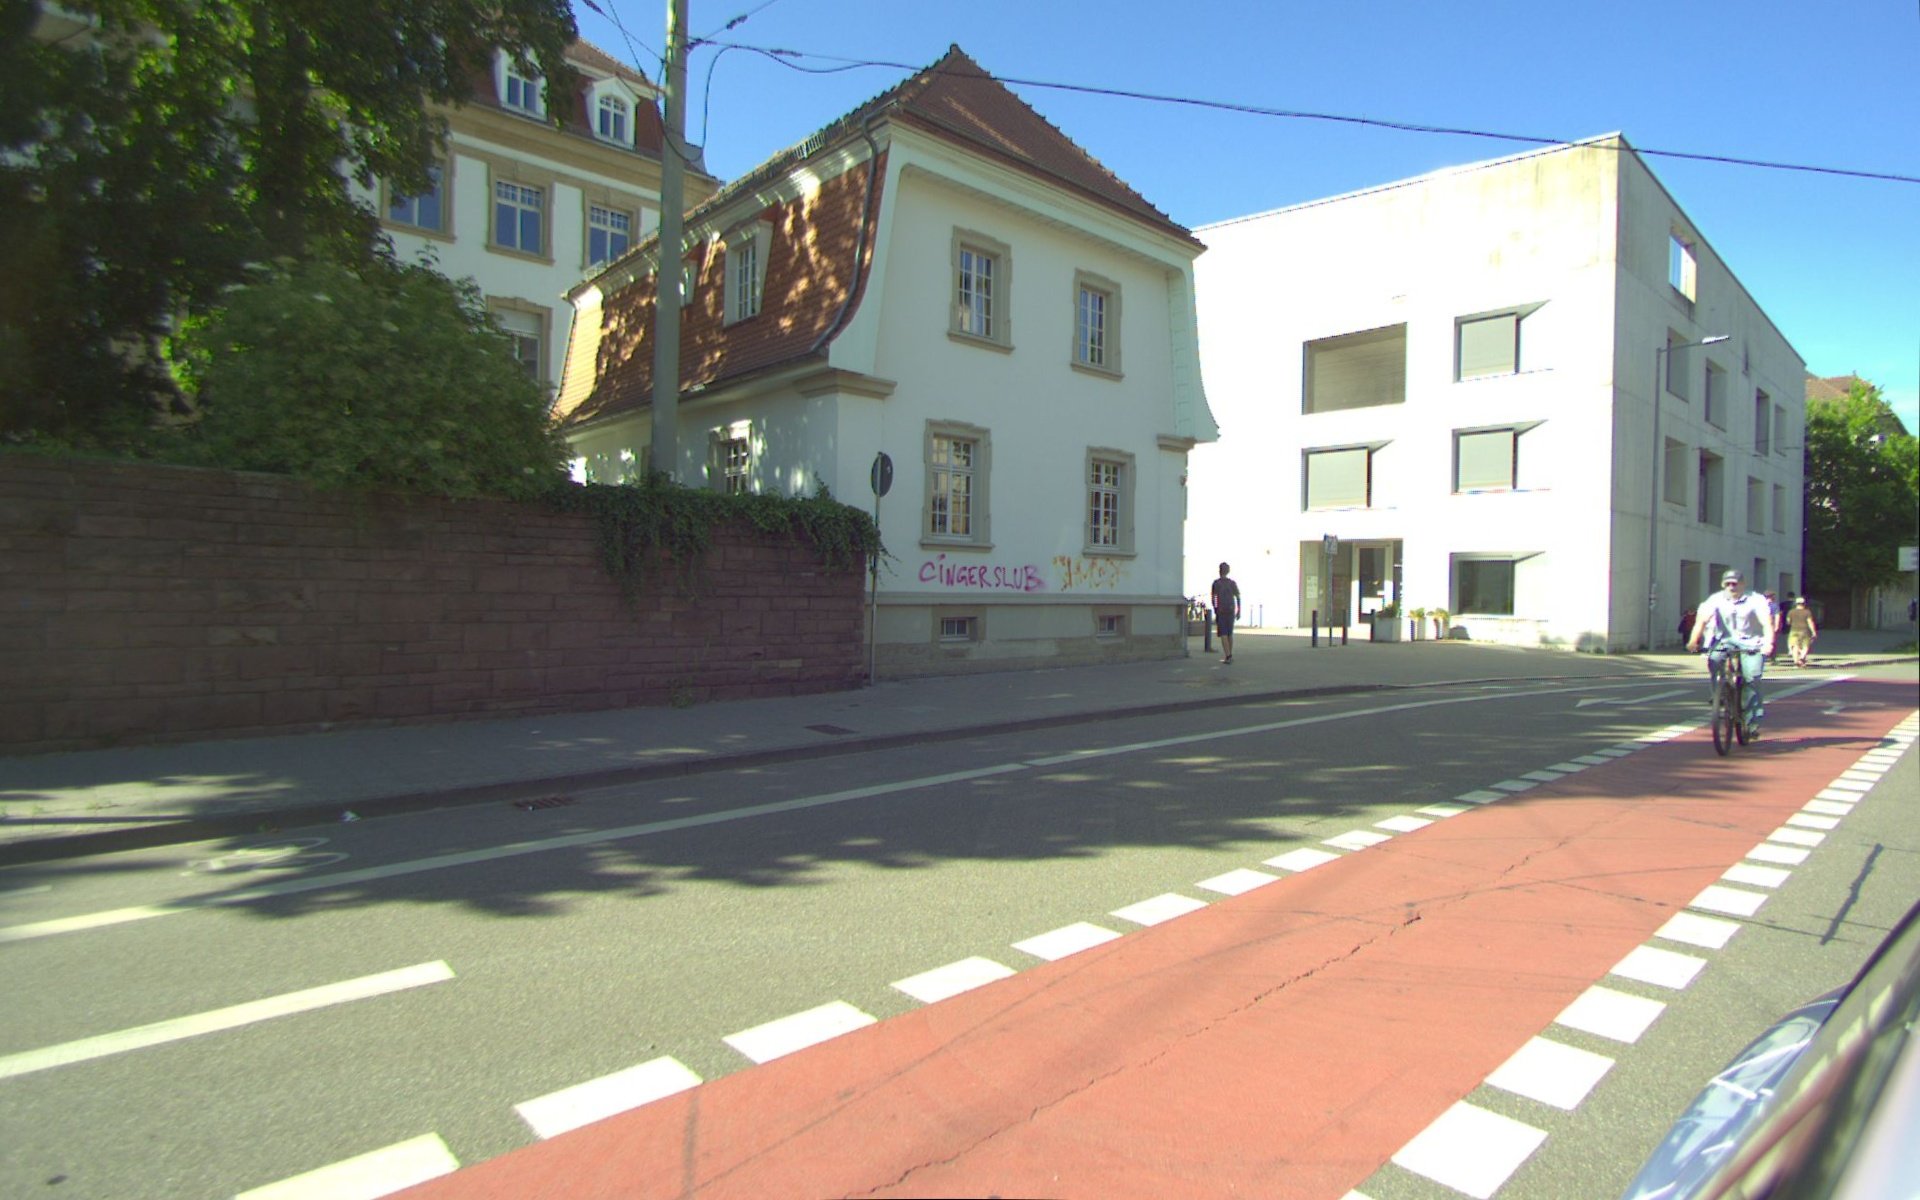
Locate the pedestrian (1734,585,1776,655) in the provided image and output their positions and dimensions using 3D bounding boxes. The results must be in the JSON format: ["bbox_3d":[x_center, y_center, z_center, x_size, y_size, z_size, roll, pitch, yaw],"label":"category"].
[{"bbox_3d":[20.980,0.520,26.717,0.722,1.795,0.530,1,5,-35],"label":"pedestrian"}]

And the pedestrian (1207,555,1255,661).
[{"bbox_3d":[5.159,0.124,19.334,0.628,1.927,1.133,2,2,6],"label":"pedestrian"}]

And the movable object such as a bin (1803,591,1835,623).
[{"bbox_3d":[40.337,0.321,47.495,1.331,1.481,0.935,0,1,-41],"label":"movable object such as a bin"}]

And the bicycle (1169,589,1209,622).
[{"bbox_3d":[7.989,0.168,35.241,1.563,1.108,0.498,-1,2,-39],"label":"bicycle"}]

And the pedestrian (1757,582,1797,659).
[{"bbox_3d":[20.933,0.517,25.935,0.600,1.925,0.521,1,4,-34],"label":"pedestrian"}]

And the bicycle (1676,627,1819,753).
[{"bbox_3d":[8.056,0.856,10.317,2.074,1.108,0.740,0,-1,-41],"label":"bicycle"}]

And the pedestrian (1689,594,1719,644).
[{"bbox_3d":[21.772,0.544,29.604,0.751,1.422,0.519,0,1,-39],"label":"pedestrian"}]

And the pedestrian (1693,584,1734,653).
[{"bbox_3d":[20.356,0.487,27.331,0.641,1.795,0.611,0,5,-40],"label":"pedestrian"}]

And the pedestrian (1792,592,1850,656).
[{"bbox_3d":[23.291,0.644,27.370,0.876,1.623,0.833,1,5,-32],"label":"pedestrian"}]

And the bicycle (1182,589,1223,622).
[{"bbox_3d":[8.350,0.176,34.852,1.558,1.108,0.498,0,1,-39],"label":"bicycle"}]

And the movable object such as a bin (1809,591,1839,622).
[{"bbox_3d":[41.745,0.310,48.888,1.309,1.481,0.934,0,1,-43],"label":"movable object such as a bin"}]

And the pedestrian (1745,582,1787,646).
[{"bbox_3d":[23.614,0.393,29.646,0.939,1.783,0.649,0,5,-39],"label":"pedestrian"}]

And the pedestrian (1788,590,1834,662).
[{"bbox_3d":[21.644,0.647,25.732,0.704,1.767,0.609,1,4,-34],"label":"pedestrian"}]

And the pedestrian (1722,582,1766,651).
[{"bbox_3d":[21.654,0.446,27.963,0.717,1.824,0.660,1,4,-34],"label":"pedestrian"}]

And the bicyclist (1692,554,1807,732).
[{"bbox_3d":[8.045,0.415,10.314,0.954,1.707,0.740,0,-1,-40],"label":"bicyclist"}]

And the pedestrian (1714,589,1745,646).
[{"bbox_3d":[22.055,0.492,28.991,0.751,1.620,0.519,0,1,-39],"label":"pedestrian"}]
